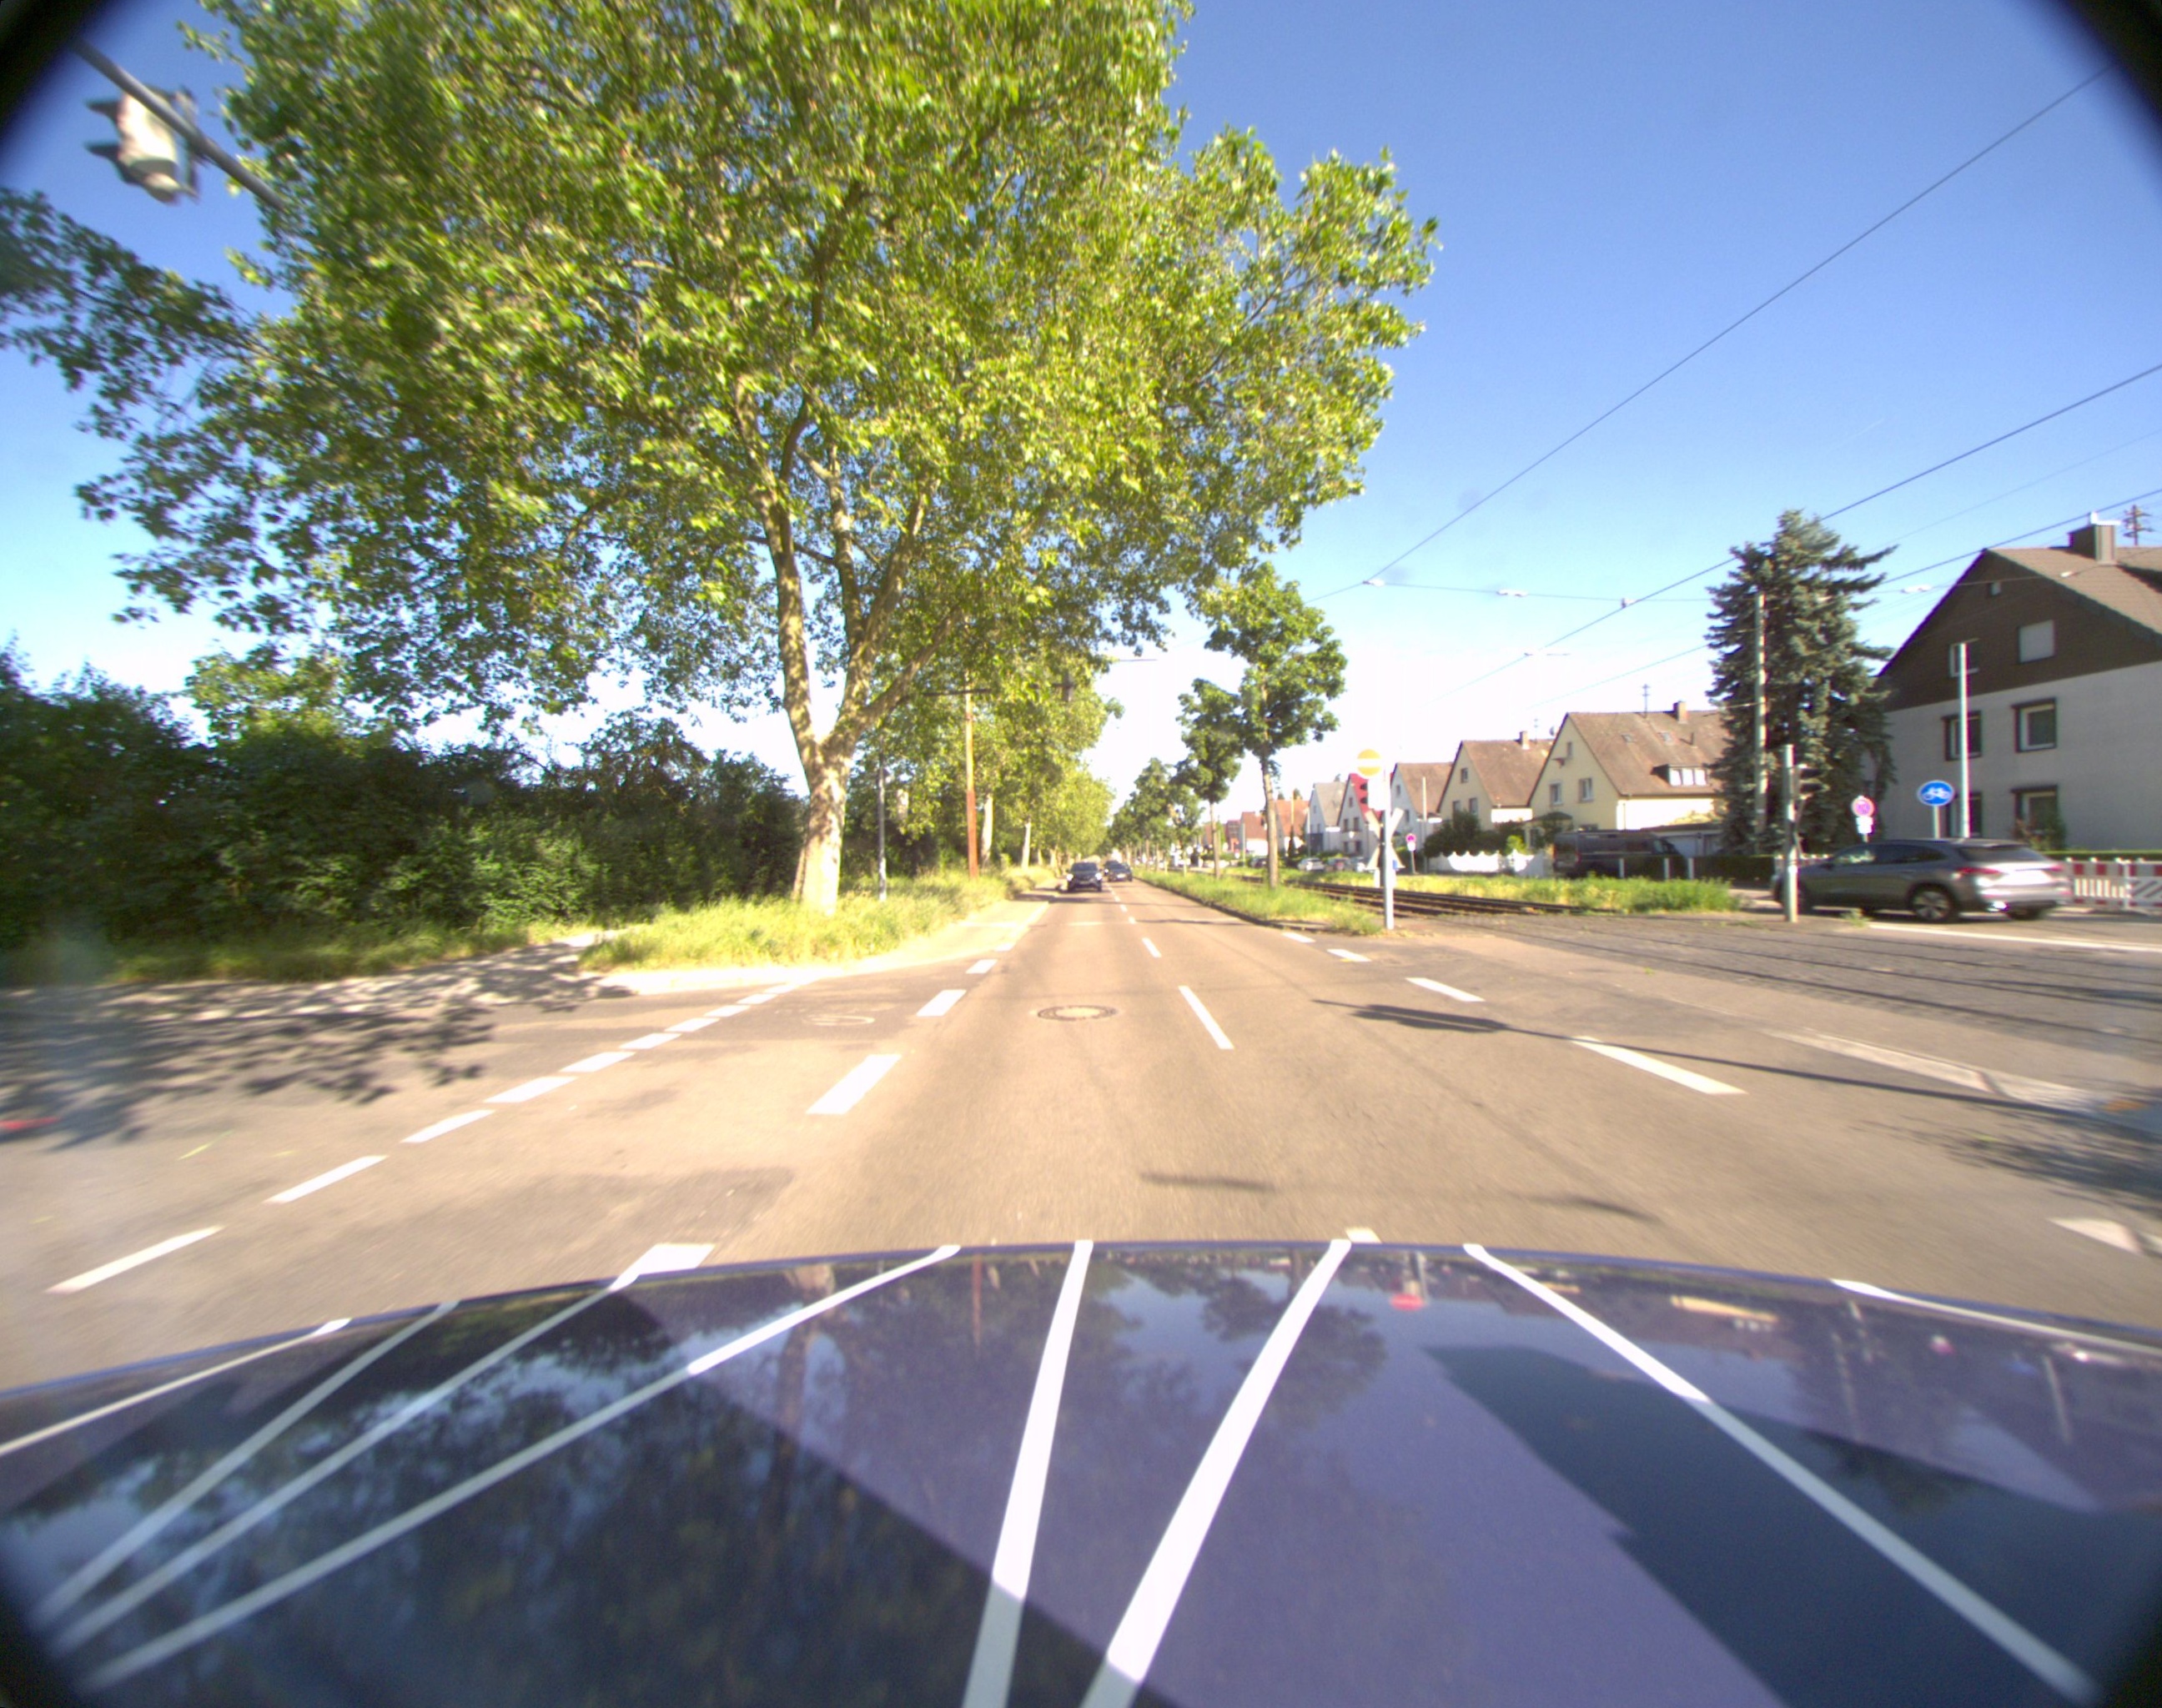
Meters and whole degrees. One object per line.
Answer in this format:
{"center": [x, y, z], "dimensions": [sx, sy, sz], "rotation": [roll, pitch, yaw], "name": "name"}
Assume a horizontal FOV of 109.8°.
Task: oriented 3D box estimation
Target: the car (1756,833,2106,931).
{"center": [16.559, 0.493, 15.262], "dimensions": [1.998, 1.594, 4.473], "rotation": [-3, 0, 1], "name": "car"}

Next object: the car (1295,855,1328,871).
{"center": [22.475, 0.895, 74.224], "dimensions": [1.998, 1.418, 4.411], "rotation": [-3, 0, 3], "name": "car"}

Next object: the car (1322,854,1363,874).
{"center": [22.366, 0.825, 65.088], "dimensions": [1.998, 1.441, 4.128], "rotation": [-5, 0, 1], "name": "car"}

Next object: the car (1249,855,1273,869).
{"center": [22.929, 1.003, 96.888], "dimensions": [1.998, 1.703, 4.391], "rotation": [-3, 0, 1], "name": "car"}

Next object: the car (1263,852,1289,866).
{"center": [22.606, 0.602, 88.122], "dimensions": [1.931, 1.486, 4.256], "rotation": [-3, 0, 1], "name": "car"}

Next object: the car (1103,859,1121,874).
{"center": [3.246, 1.310, 80.402], "dimensions": [1.692, 1.499, 3.583], "rotation": [-3, 0, 1], "name": "car"}

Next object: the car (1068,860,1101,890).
{"center": [0.227, 1.094, 40.512], "dimensions": [1.692, 1.499, 3.583], "rotation": [0, 0, 1], "name": "car"}

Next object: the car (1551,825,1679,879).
{"center": [27.516, -0.081, 39.269], "dimensions": [5.041, 2.609, 2.103], "rotation": [-2, -1, 1], "name": "car"}

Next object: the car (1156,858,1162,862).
{"center": [24.843, 1.888, 242.244], "dimensions": [1.756, 1.373, 3.823], "rotation": [-3, 0, 1], "name": "car"}

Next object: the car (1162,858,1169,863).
{"center": [25.017, 2.001, 225.478], "dimensions": [1.738, 1.481, 3.756], "rotation": [-3, 0, 1], "name": "car"}

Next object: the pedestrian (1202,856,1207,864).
{"center": [23.352, 1.074, 143.685], "dimensions": [0.814, 1.525, 0.794], "rotation": [-1, -2, -9], "name": "pedestrian"}

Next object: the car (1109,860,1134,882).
{"center": [2.988, 1.222, 57.132], "dimensions": [1.692, 1.499, 3.583], "rotation": [-3, 0, 1], "name": "car"}

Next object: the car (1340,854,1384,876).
{"center": [22.203, 0.840, 60.226], "dimensions": [1.951, 1.544, 4.057], "rotation": [-3, 0, 1], "name": "car"}
